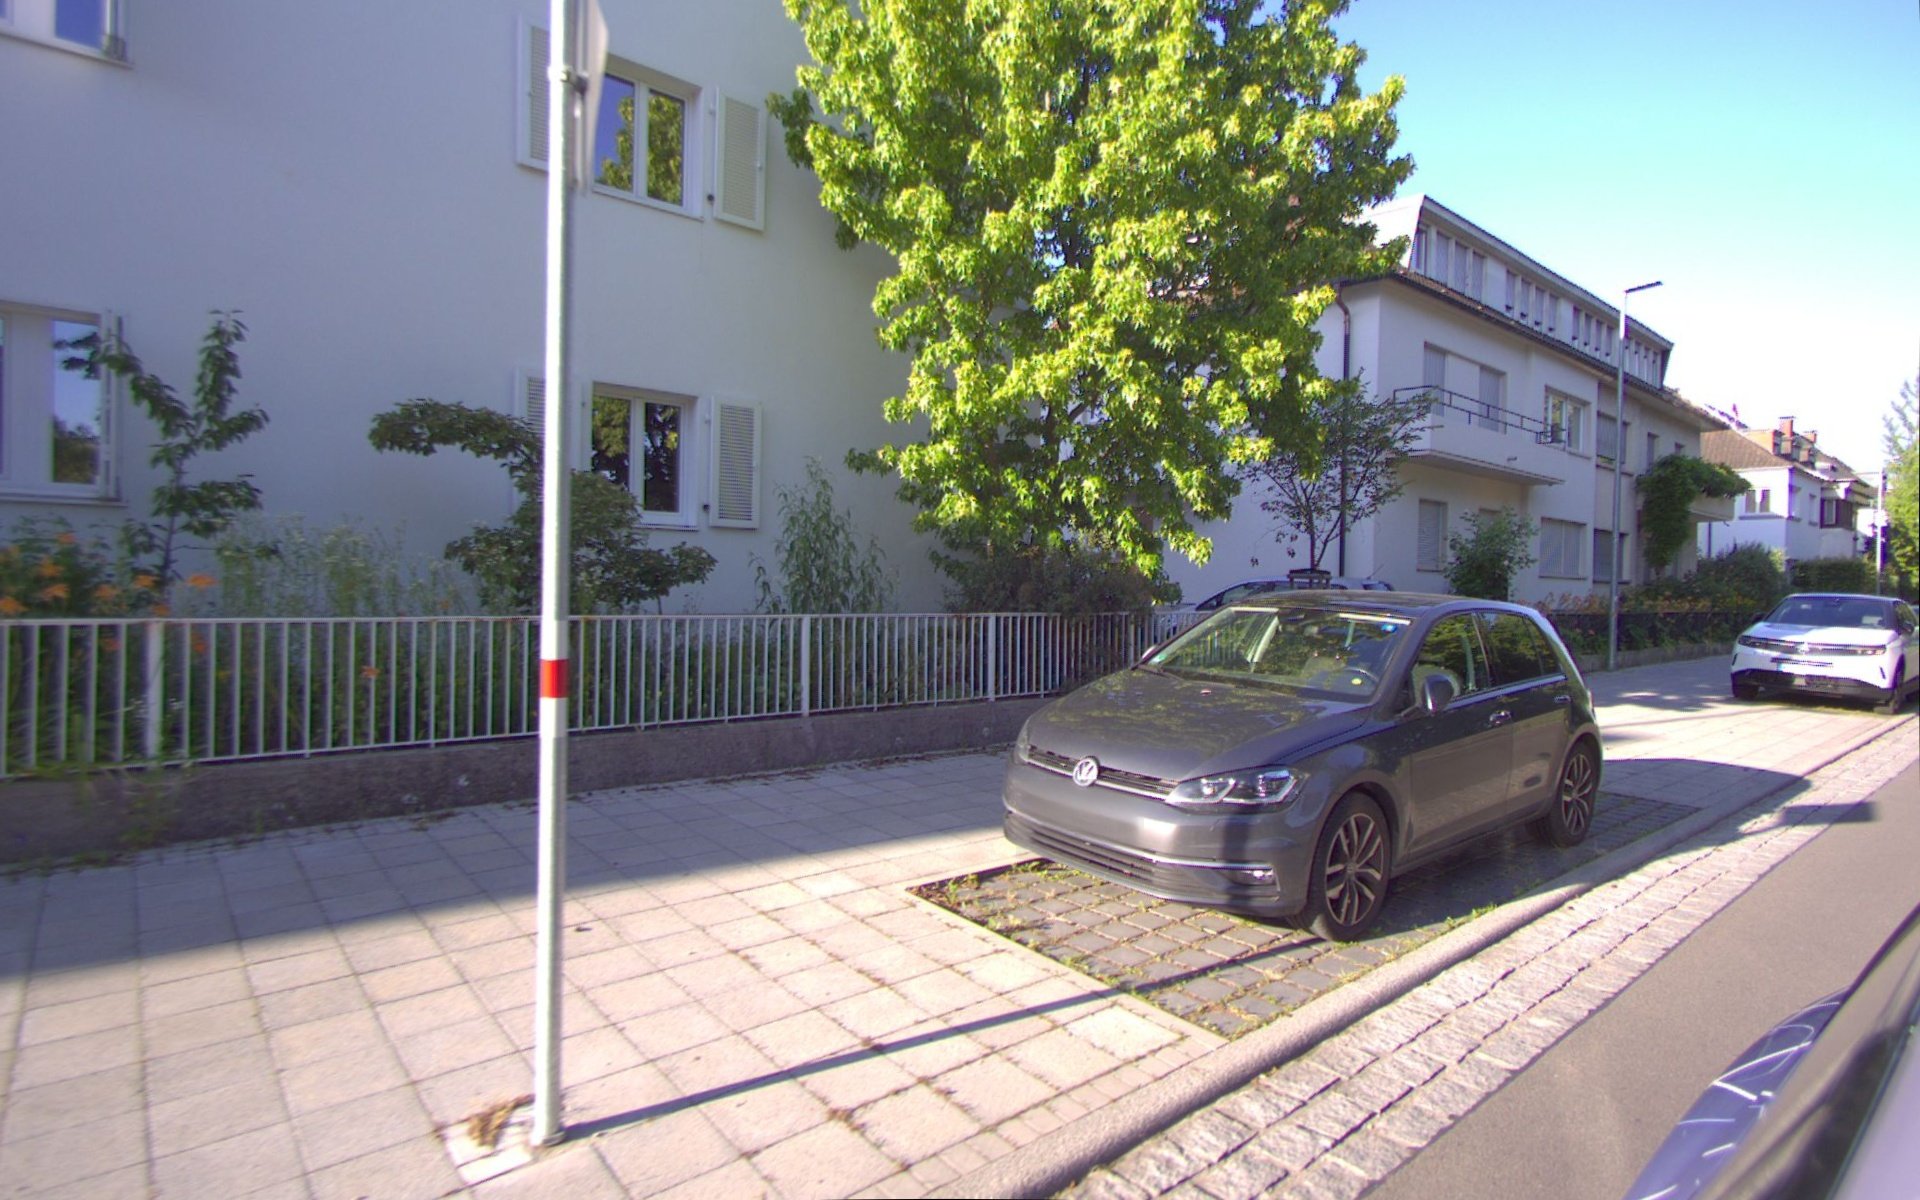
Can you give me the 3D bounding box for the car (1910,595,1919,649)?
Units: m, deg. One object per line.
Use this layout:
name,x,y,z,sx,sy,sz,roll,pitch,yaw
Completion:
car,27.283,0.622,27.434,4.007,1.397,1.798,0,3,-41

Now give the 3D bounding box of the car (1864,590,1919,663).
car,21.975,0.584,22.833,4.120,1.512,1.798,0,3,-41

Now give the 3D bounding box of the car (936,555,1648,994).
car,2.034,0.620,5.564,4.050,1.500,1.798,1,3,-40

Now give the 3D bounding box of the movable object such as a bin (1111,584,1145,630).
movable object such as a bin,3.517,0.144,21.210,0.498,0.957,0.508,1,0,-40

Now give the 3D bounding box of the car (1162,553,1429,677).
car,5.631,0.245,17.304,3.983,1.869,1.786,0,-2,44

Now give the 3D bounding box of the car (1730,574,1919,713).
car,13.480,0.559,15.271,4.492,1.729,1.911,1,3,-39

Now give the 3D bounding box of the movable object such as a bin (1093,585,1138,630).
movable object such as a bin,3.384,0.158,21.995,0.720,0.971,0.652,0,0,-40
